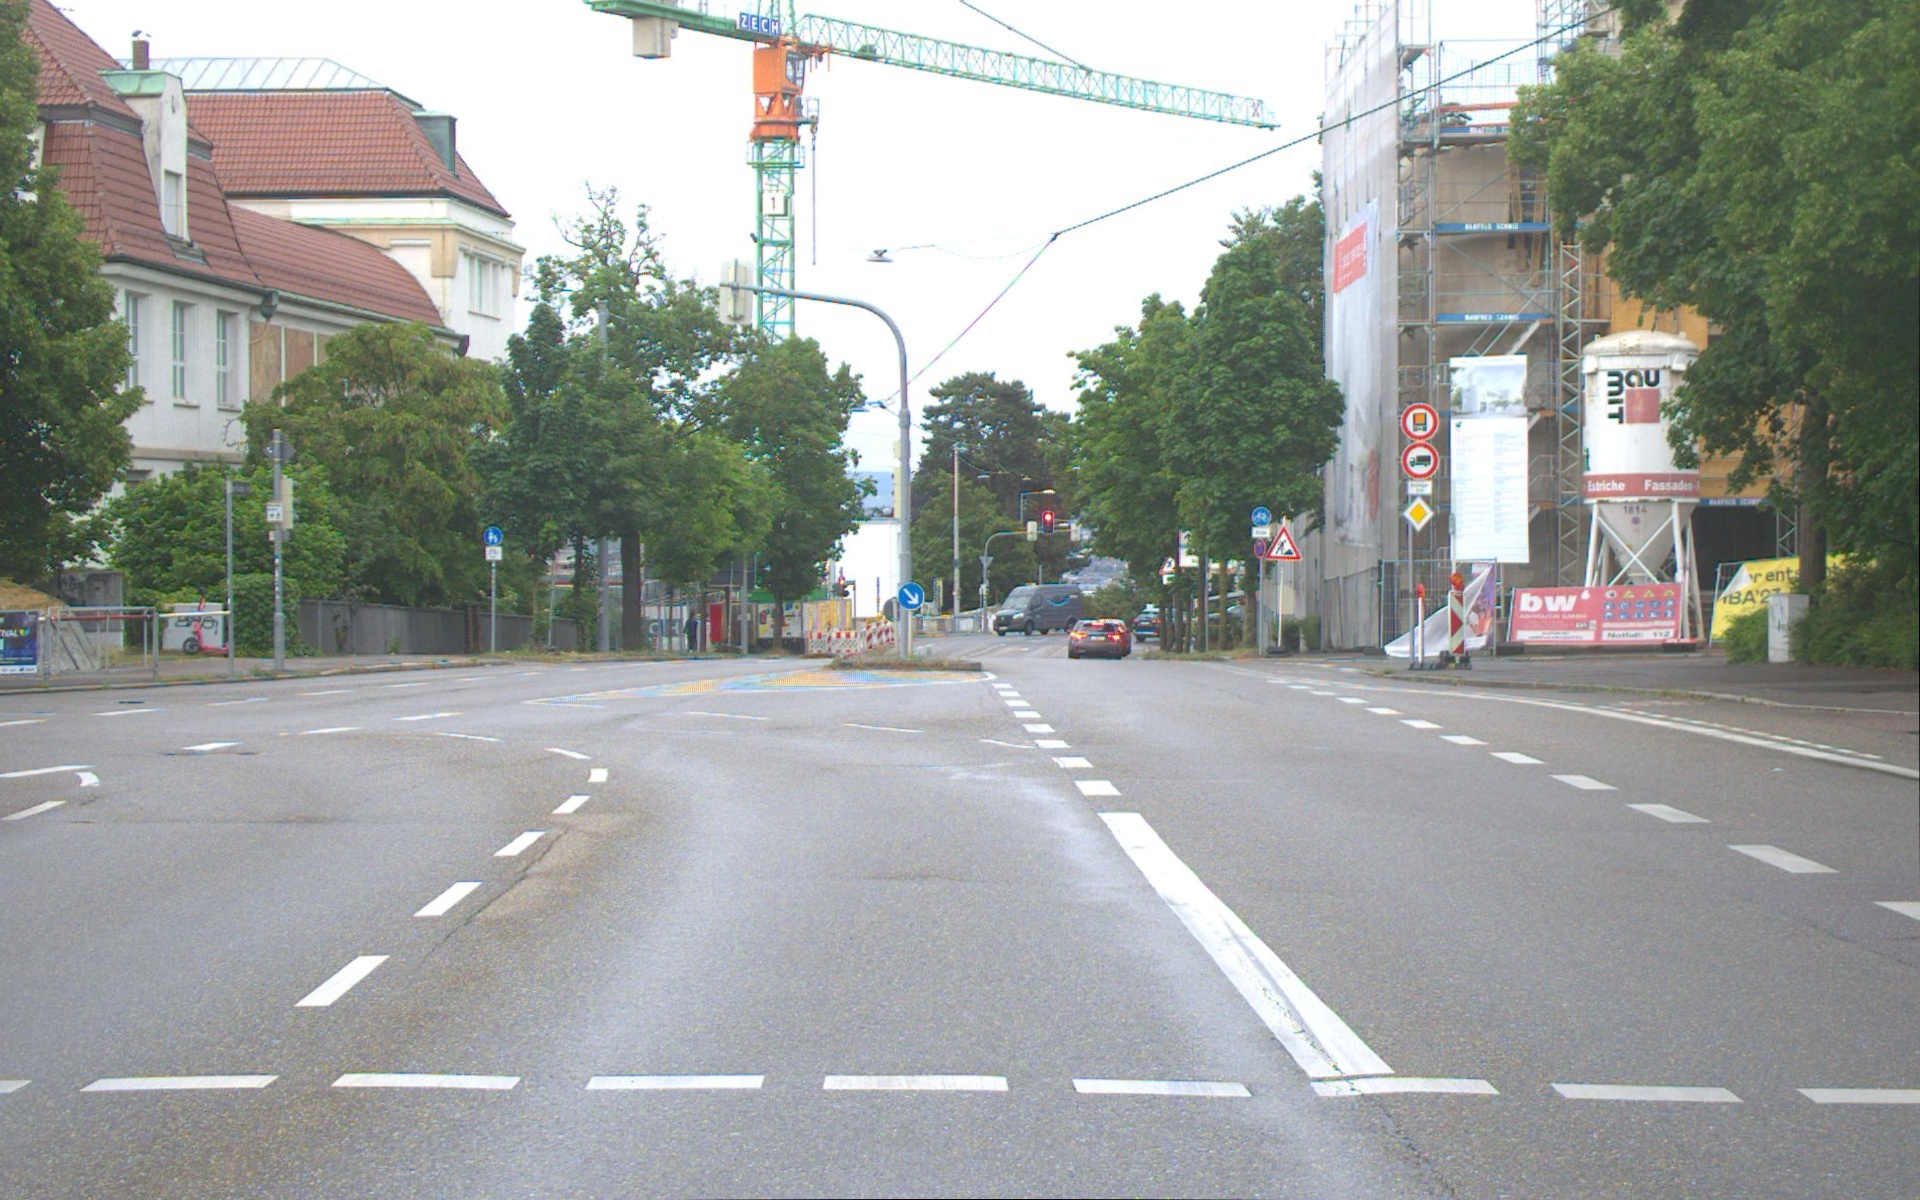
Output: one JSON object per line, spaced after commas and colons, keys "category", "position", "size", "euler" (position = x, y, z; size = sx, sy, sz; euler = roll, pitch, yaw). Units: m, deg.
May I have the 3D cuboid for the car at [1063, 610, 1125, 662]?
{"category": "car", "position": [4.868, 1.297, 125.218], "size": [1.993, 1.744, 4.000], "euler": [-1, 1, -1]}

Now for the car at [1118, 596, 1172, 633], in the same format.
{"category": "car", "position": [9.033, 0.705, 168.027], "size": [1.994, 1.744, 3.998], "euler": [-1, 1, 13]}

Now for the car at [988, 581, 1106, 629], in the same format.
{"category": "car", "position": [4.597, 0.260, 179.882], "size": [2.855, 2.394, 6.172], "euler": [1, 1, 41]}

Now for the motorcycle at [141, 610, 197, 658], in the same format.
{"category": "motorcycle", "position": [-14.945, 0.633, 64.969], "size": [0.849, 0.874, 0.877], "euler": [1, 0, -1]}

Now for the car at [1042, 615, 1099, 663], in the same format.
{"category": "car", "position": [4.234, 1.481, 132.072], "size": [1.993, 1.744, 4.000], "euler": [-1, 1, -1]}

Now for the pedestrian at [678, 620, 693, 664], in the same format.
{"category": "pedestrian", "position": [-10.357, 1.595, 129.796], "size": [0.493, 1.640, 0.533], "euler": [1, 0, 4]}

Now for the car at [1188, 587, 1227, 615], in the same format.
{"category": "car", "position": [15.791, 0.051, 219.290], "size": [1.994, 1.744, 3.998], "euler": [-1, 1, 11]}
